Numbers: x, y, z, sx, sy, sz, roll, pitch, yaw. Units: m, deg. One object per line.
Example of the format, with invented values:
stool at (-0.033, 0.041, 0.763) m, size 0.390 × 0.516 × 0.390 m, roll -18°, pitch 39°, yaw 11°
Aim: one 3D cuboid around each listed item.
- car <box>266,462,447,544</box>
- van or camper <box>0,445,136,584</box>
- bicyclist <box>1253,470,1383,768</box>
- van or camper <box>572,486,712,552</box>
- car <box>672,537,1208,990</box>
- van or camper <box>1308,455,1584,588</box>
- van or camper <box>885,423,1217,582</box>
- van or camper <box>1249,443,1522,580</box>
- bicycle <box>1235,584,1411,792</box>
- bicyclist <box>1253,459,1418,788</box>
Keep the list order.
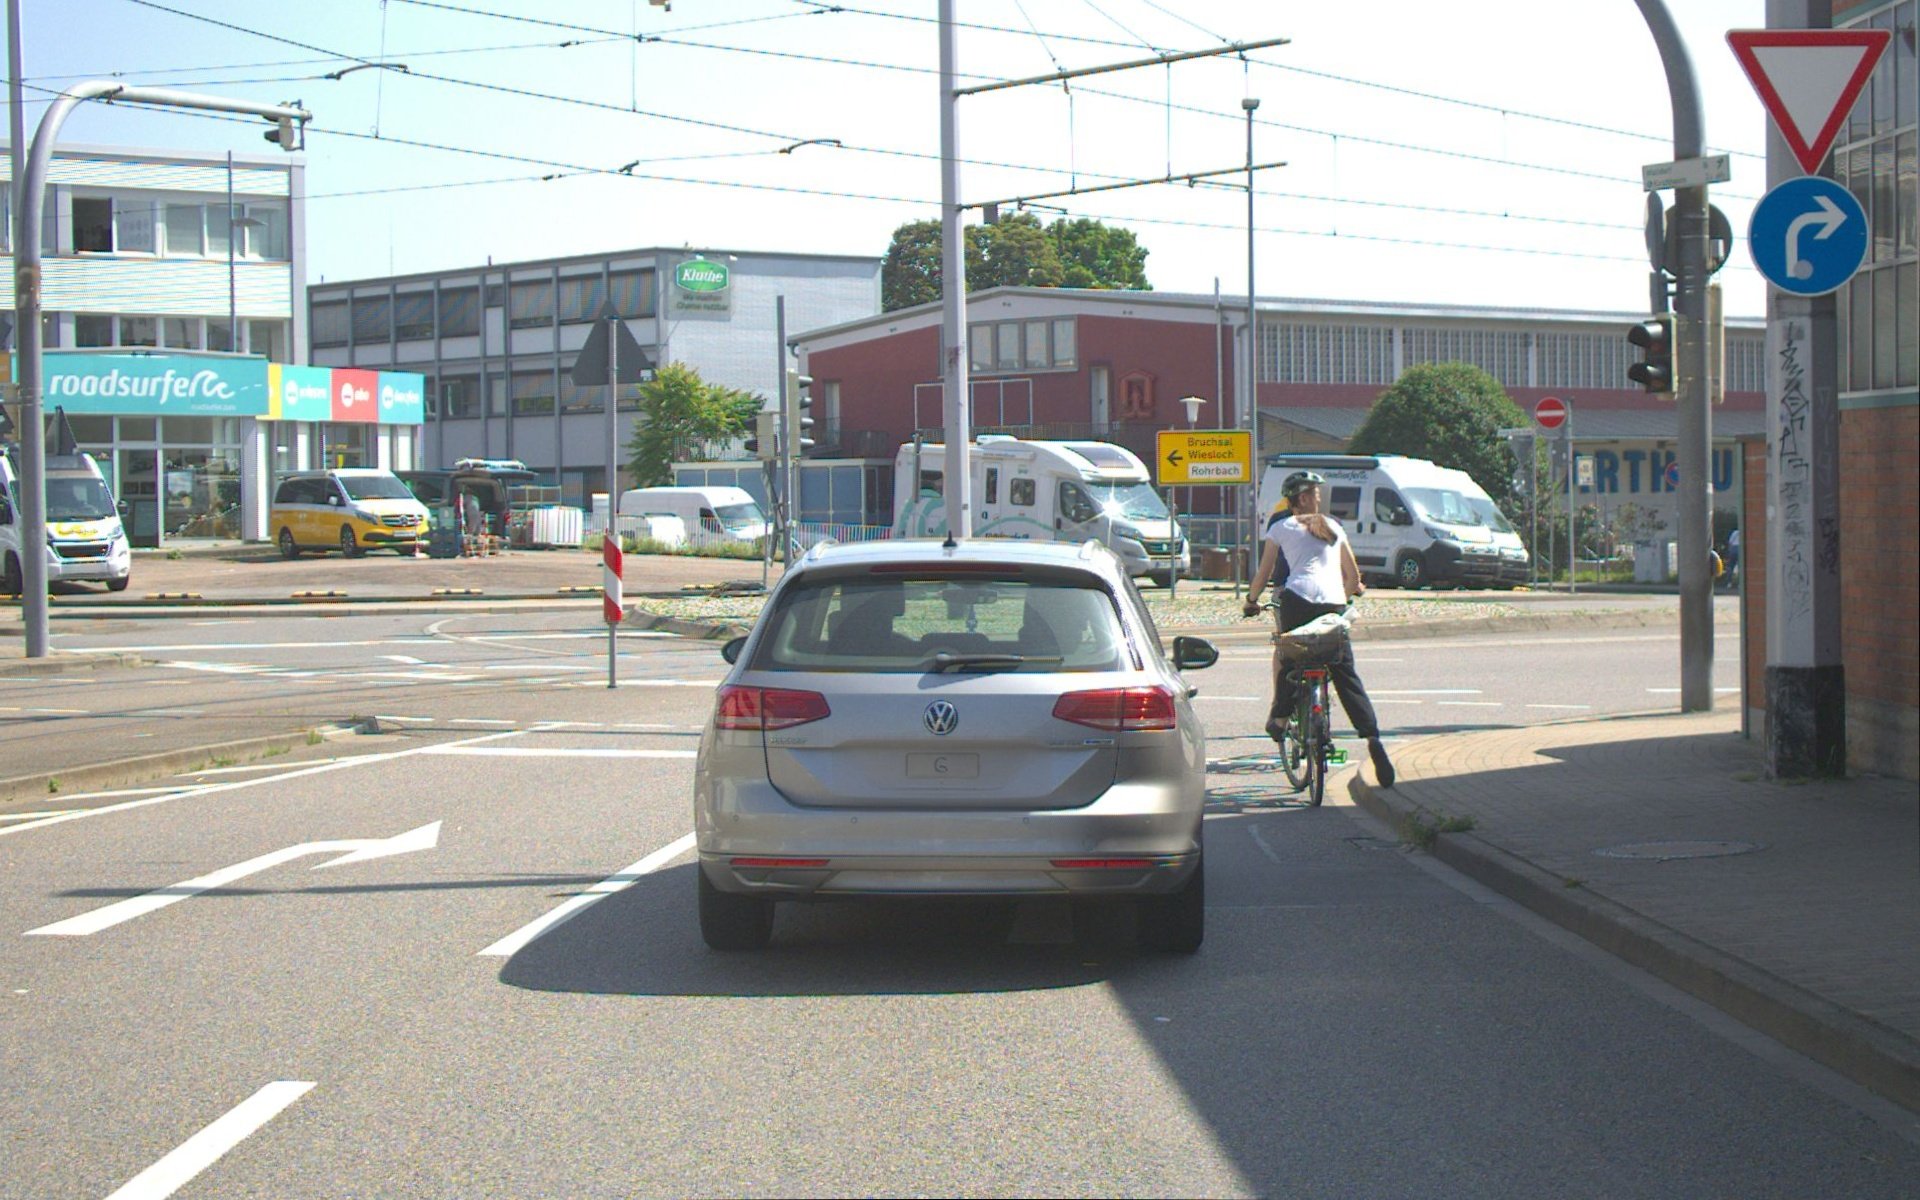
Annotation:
car at (-13.433, -2.138, 76.280) m, size 1.939 × 1.753 × 5.122 m, roll -1°, pitch 2°, yaw -35°
van or camper at (-16.902, -1.612, 62.439) m, size 2.031 × 2.288 × 5.813 m, roll -2°, pitch 4°, yaw -32°
bicyclist at (2.211, 0.103, 21.326) m, size 0.708 × 1.804 × 0.983 m, roll 0°, pitch 1°, yaw 1°
van or camper at (-9.517, -2.416, 102.861) m, size 3.997 × 1.941 × 1.995 m, roll 1°, pitch 2°, yaw 42°
car at (-0.028, 0.502, 13.262) m, size 1.746 × 1.454 × 4.000 m, roll 0°, pitch 1°, yaw 1°
van or camper at (10.292, -1.731, 73.292) m, size 2.283 × 2.602 × 5.891 m, roll -3°, pitch 5°, yaw -38°
van or camper at (1.722, -2.015, 68.345) m, size 2.348 × 2.920 × 6.983 m, roll -3°, pitch 5°, yaw -44°
van or camper at (8.540, -1.834, 69.441) m, size 2.283 × 2.431 × 5.386 m, roll -3°, pitch 6°, yaw -38°
bicycle at (1.946, 0.446, 18.696) m, size 0.794 × 1.018 × 2.151 m, roll 0°, pitch 1°, yaw 2°
bicyclist at (2.005, 0.111, 18.502) m, size 0.786 × 1.716 × 1.147 m, roll 0°, pitch 1°, yaw 2°
